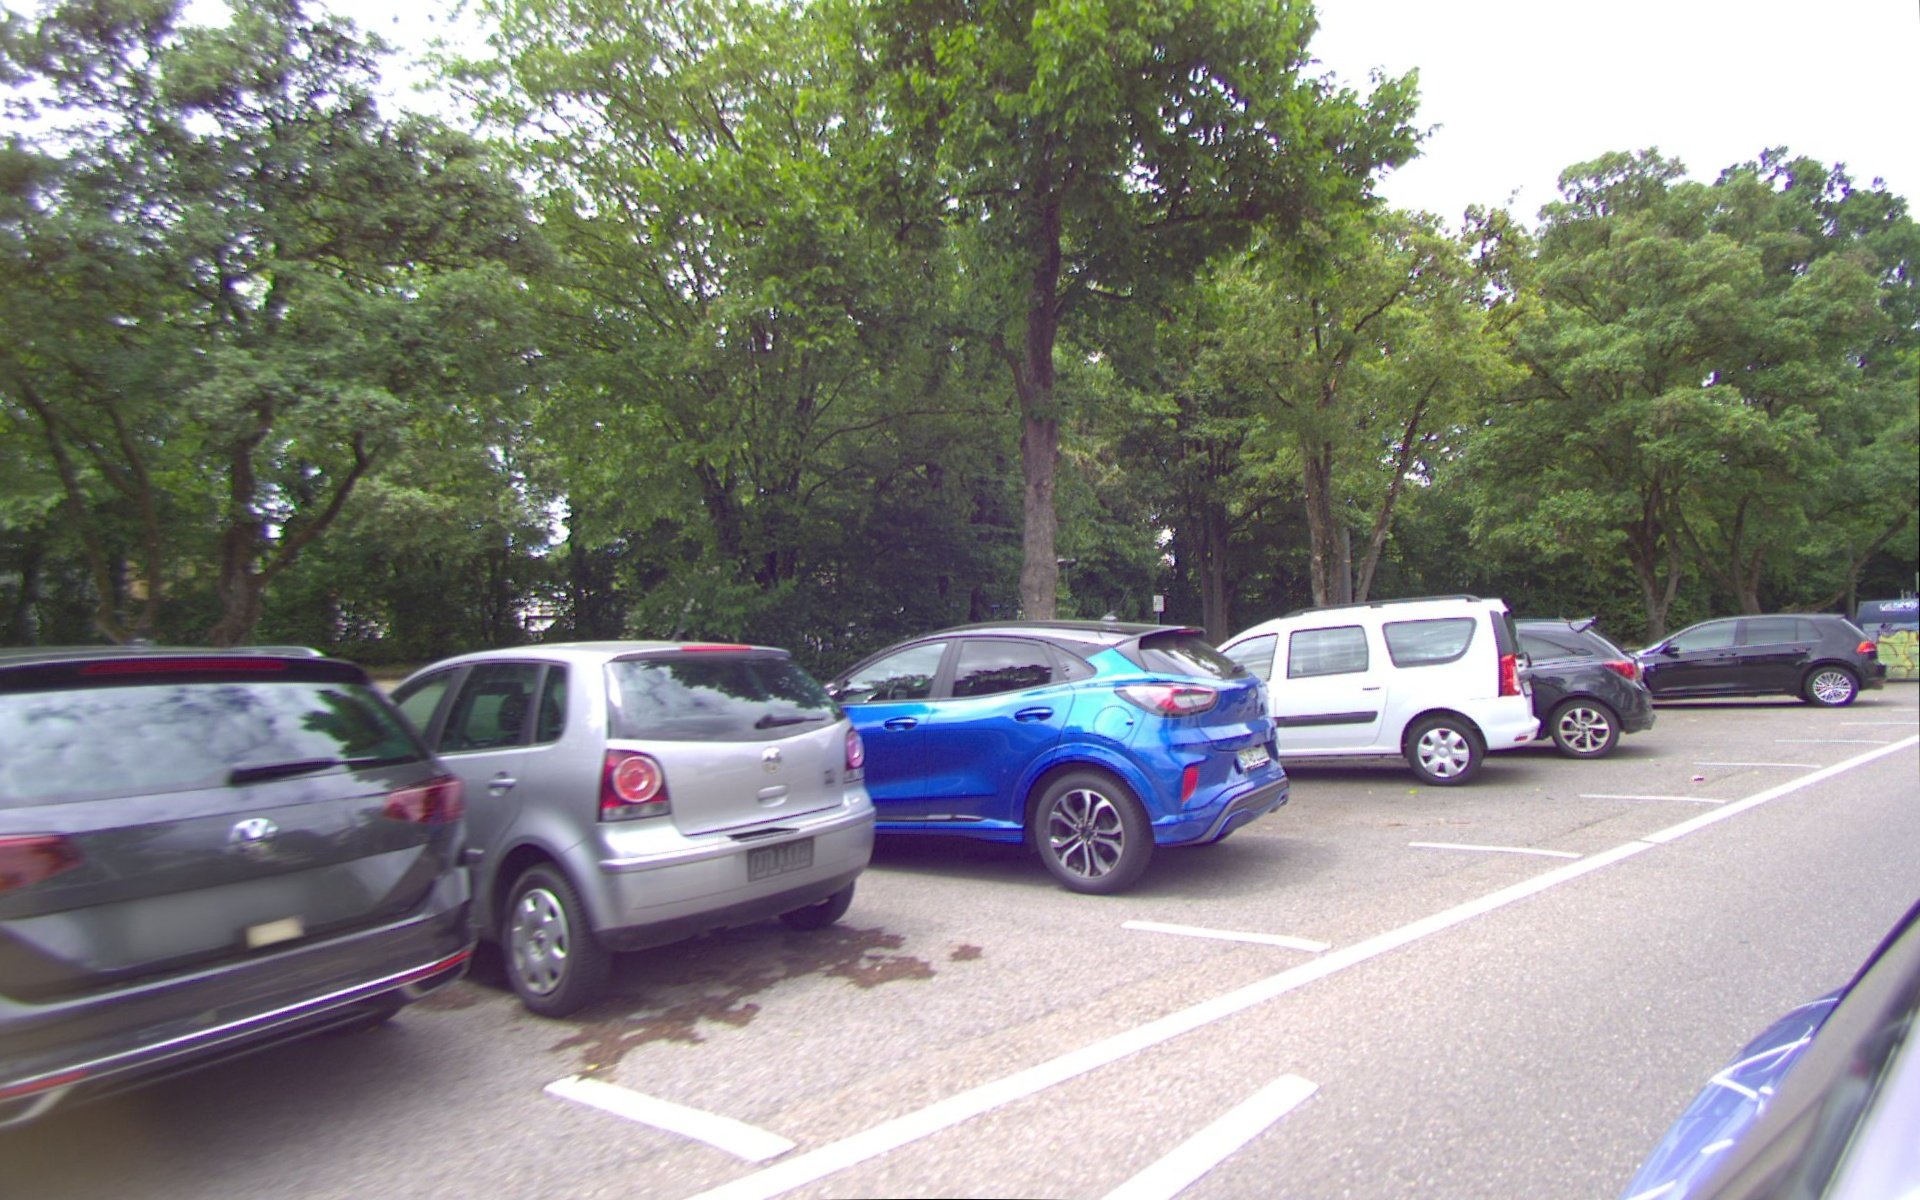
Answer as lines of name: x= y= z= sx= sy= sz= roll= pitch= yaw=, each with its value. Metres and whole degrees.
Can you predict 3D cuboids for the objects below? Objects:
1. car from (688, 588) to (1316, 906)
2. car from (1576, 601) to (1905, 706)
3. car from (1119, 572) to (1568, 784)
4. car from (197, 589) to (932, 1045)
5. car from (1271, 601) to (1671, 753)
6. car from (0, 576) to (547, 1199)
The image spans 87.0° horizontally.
car: x=0.152 y=0.872 z=6.753 sx=3.804 sy=1.548 sz=1.725 roll=-6 pitch=-4 yaw=34
car: x=12.515 y=0.917 z=16.640 sx=3.968 sy=1.433 sz=2.033 roll=-6 pitch=-5 yaw=33
car: x=3.777 y=0.803 z=10.186 sx=3.804 sy=1.742 sz=1.855 roll=-6 pitch=-4 yaw=34
car: x=-2.210 y=0.899 z=5.273 sx=3.804 sy=1.548 sz=1.724 roll=-6 pitch=-4 yaw=34
car: x=5.843 y=0.932 z=11.784 sx=3.809 sy=1.488 sz=1.722 roll=-6 pitch=-5 yaw=38
car: x=-3.418 y=0.875 z=3.688 sx=3.804 sy=1.548 sz=1.725 roll=-6 pitch=-4 yaw=34
